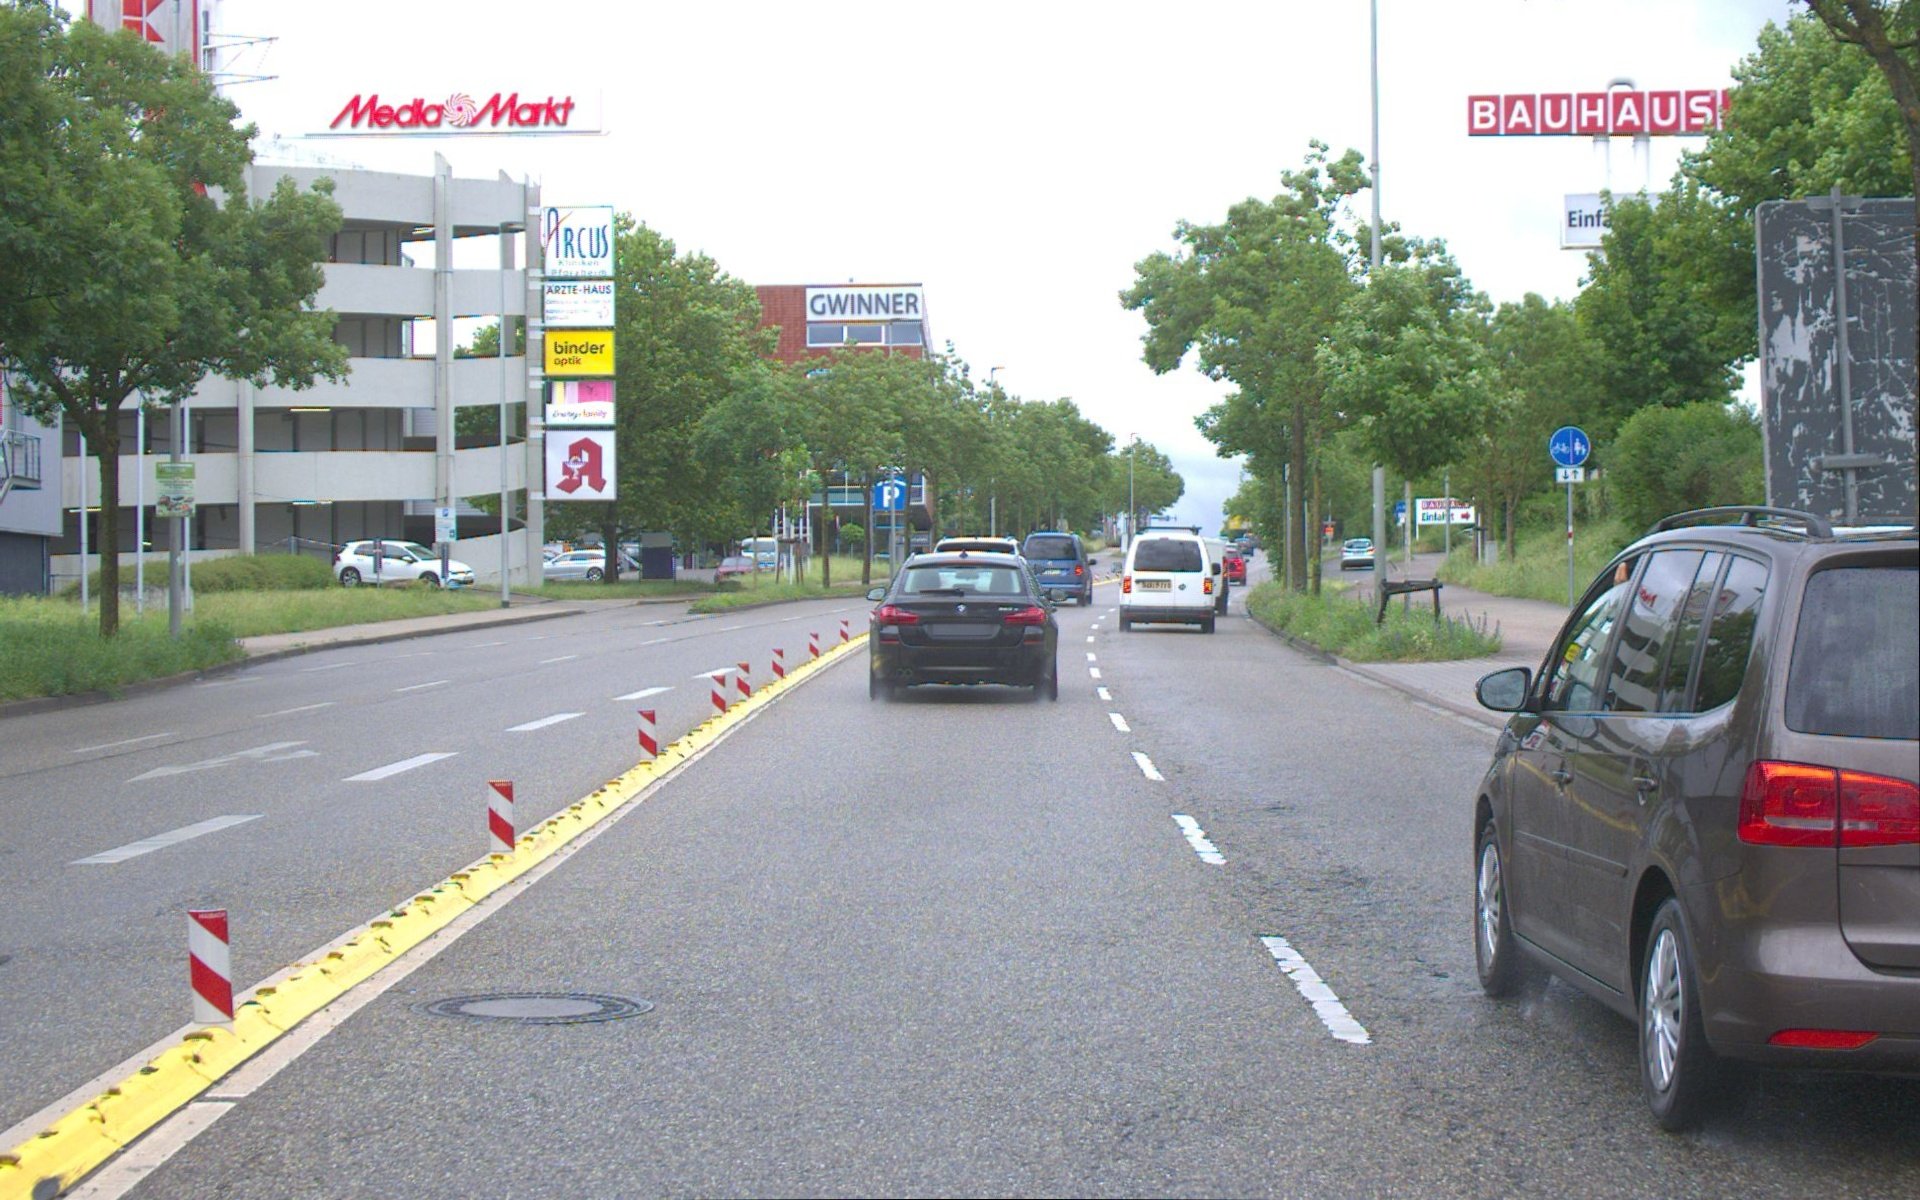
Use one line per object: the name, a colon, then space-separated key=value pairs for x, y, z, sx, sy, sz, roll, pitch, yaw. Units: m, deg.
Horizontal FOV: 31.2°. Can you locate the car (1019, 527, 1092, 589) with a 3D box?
car: x=2.474 y=-1.075 z=88.533 sx=1.794 sy=1.505 sz=4.000 roll=1 pitch=0 yaw=2

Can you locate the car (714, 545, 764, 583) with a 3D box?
car: x=-10.402 y=-1.703 z=162.025 sx=1.933 sy=1.603 sz=4.711 roll=1 pitch=2 yaw=1

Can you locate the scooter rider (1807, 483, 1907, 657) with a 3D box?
scooter rider: x=9.620 y=-0.321 z=36.897 sx=0.695 sy=1.814 sz=0.858 roll=-3 pitch=0 yaw=-6

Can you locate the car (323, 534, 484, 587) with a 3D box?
car: x=-16.845 y=-1.207 z=104.079 sx=4.413 sy=1.403 sz=1.904 roll=2 pitch=3 yaw=15

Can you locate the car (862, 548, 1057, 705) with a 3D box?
car: x=0.013 y=0.224 z=34.617 sx=1.827 sy=1.463 sz=4.000 roll=1 pitch=1 yaw=0

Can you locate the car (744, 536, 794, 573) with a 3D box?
car: x=-9.776 y=-2.349 z=176.437 sx=2.039 sy=1.756 sz=4.946 roll=1 pitch=2 yaw=3

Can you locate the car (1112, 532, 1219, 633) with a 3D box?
car: x=3.766 y=-0.352 z=63.575 sx=1.827 sy=1.753 sz=4.000 roll=1 pitch=1 yaw=2

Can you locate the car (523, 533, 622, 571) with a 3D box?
car: x=-18.855 y=-2.357 z=167.406 sx=4.598 sy=1.740 sz=1.967 roll=1 pitch=2 yaw=-2

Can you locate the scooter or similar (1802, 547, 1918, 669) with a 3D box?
scooter or similar: x=9.642 y=0.083 z=36.879 sx=0.695 sy=1.259 sz=1.401 roll=-3 pitch=0 yaw=-7

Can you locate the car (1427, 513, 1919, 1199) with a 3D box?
car: x=2.584 y=0.601 z=10.102 sx=1.685 sy=1.576 sz=4.219 roll=2 pitch=0 yaw=-1

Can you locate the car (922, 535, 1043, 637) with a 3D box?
car: x=0.358 y=-0.229 z=53.995 sx=1.794 sy=1.505 sz=4.000 roll=1 pitch=0 yaw=0

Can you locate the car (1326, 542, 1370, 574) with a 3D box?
car: x=18.697 y=-2.013 z=165.905 sx=1.794 sy=1.505 sz=4.000 roll=1 pitch=0 yaw=2

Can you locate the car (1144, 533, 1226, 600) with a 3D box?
car: x=5.314 y=-0.785 z=81.551 sx=1.794 sy=1.505 sz=4.000 roll=1 pitch=0 yaw=2

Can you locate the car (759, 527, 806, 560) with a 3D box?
car: x=-10.158 y=-3.277 z=197.362 sx=2.138 sy=1.767 sz=4.608 roll=1 pitch=2 yaw=4
